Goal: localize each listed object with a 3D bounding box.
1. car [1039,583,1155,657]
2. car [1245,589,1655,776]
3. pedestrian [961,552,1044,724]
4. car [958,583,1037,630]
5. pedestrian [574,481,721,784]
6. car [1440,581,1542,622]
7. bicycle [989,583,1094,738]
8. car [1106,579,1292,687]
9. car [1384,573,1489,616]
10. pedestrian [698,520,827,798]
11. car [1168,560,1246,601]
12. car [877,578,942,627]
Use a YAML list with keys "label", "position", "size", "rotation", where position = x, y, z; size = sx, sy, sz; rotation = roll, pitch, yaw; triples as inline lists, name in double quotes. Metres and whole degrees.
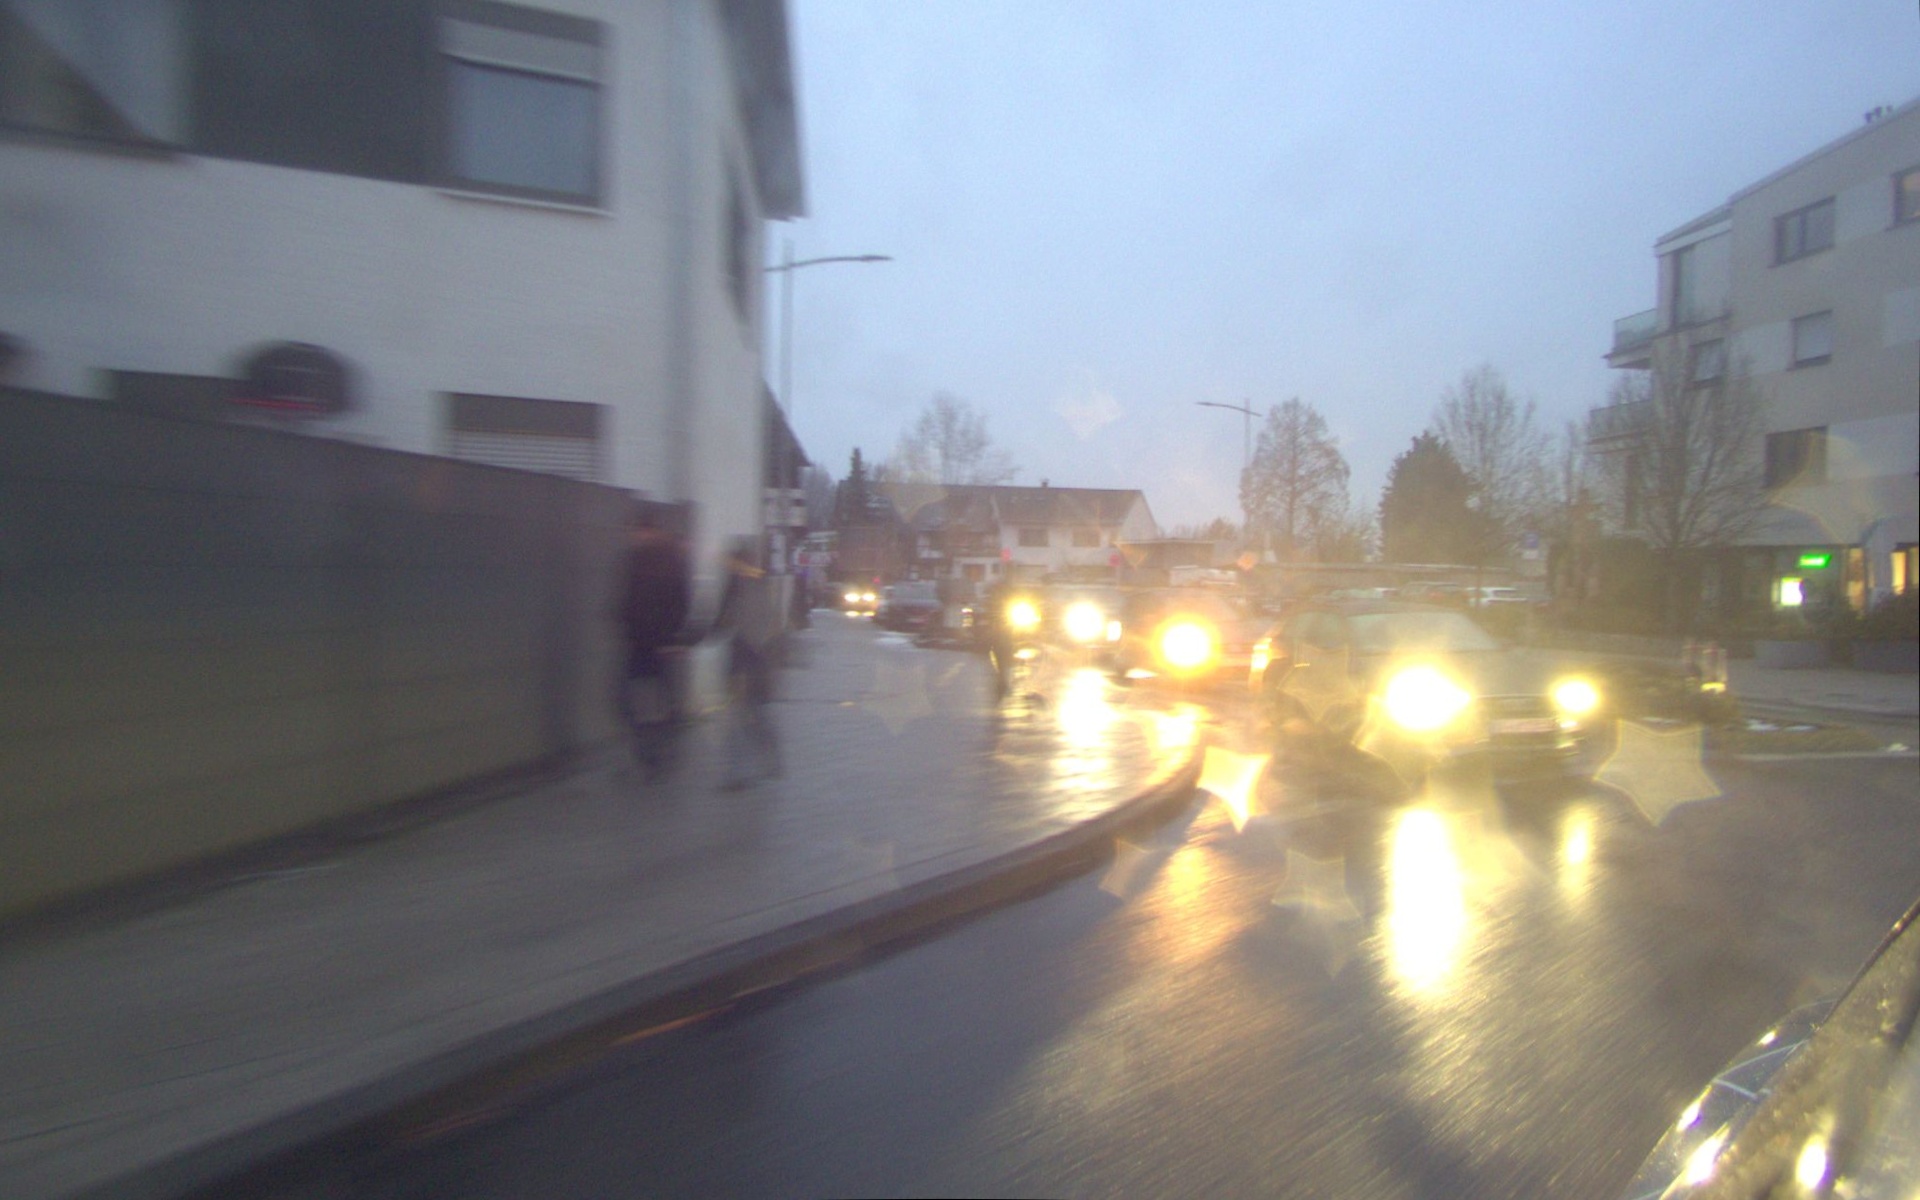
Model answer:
- label: "car"
  position: [3.063, 0.387, 23.469]
  size: [1.662, 1.527, 4.264]
  rotation: [0, 1, -6]
- label: "car"
  position: [4.398, 0.637, 9.968]
  size: [1.815, 1.401, 4.236]
  rotation: [-1, 0, -2]
- label: "pedestrian"
  position: [0.422, 0.345, 9.837]
  size: [0.602, 1.584, 0.688]
  rotation: [2, 1, 17]
- label: "car"
  position: [1.235, 0.190, 35.393]
  size: [1.843, 1.471, 4.008]
  rotation: [1, 1, -11]
- label: "pedestrian"
  position: [-2.034, 0.196, 6.663]
  size: [0.626, 1.854, 0.716]
  rotation: [3, 1, 6]
- label: "car"
  position: [20.456, 0.032, 39.140]
  size: [1.487, 1.492, 3.452]
  rotation: [1, 1, -15]
- label: "bicycle"
  position: [0.829, 0.512, 9.736]
  size: [0.544, 1.311, 1.932]
  rotation: [3, 2, 17]
- label: "car"
  position: [3.813, 0.467, 16.872]
  size: [1.662, 1.571, 4.006]
  rotation: [0, 0, -8]
- label: "car"
  position: [17.959, -0.237, 38.320]
  size: [1.680, 1.535, 3.774]
  rotation: [0, 1, -10]
- label: "pedestrian"
  position: [-1.235, 0.345, 6.442]
  size: [0.572, 1.641, 0.716]
  rotation: [2, 1, 6]
- label: "car"
  position: [12.927, -1.031, 53.252]
  size: [2.168, 2.039, 4.868]
  rotation: [0, 1, -10]
- label: "car"
  position: [-1.770, 0.044, 34.253]
  size: [1.630, 1.548, 4.008]
  rotation: [1, 1, -11]
